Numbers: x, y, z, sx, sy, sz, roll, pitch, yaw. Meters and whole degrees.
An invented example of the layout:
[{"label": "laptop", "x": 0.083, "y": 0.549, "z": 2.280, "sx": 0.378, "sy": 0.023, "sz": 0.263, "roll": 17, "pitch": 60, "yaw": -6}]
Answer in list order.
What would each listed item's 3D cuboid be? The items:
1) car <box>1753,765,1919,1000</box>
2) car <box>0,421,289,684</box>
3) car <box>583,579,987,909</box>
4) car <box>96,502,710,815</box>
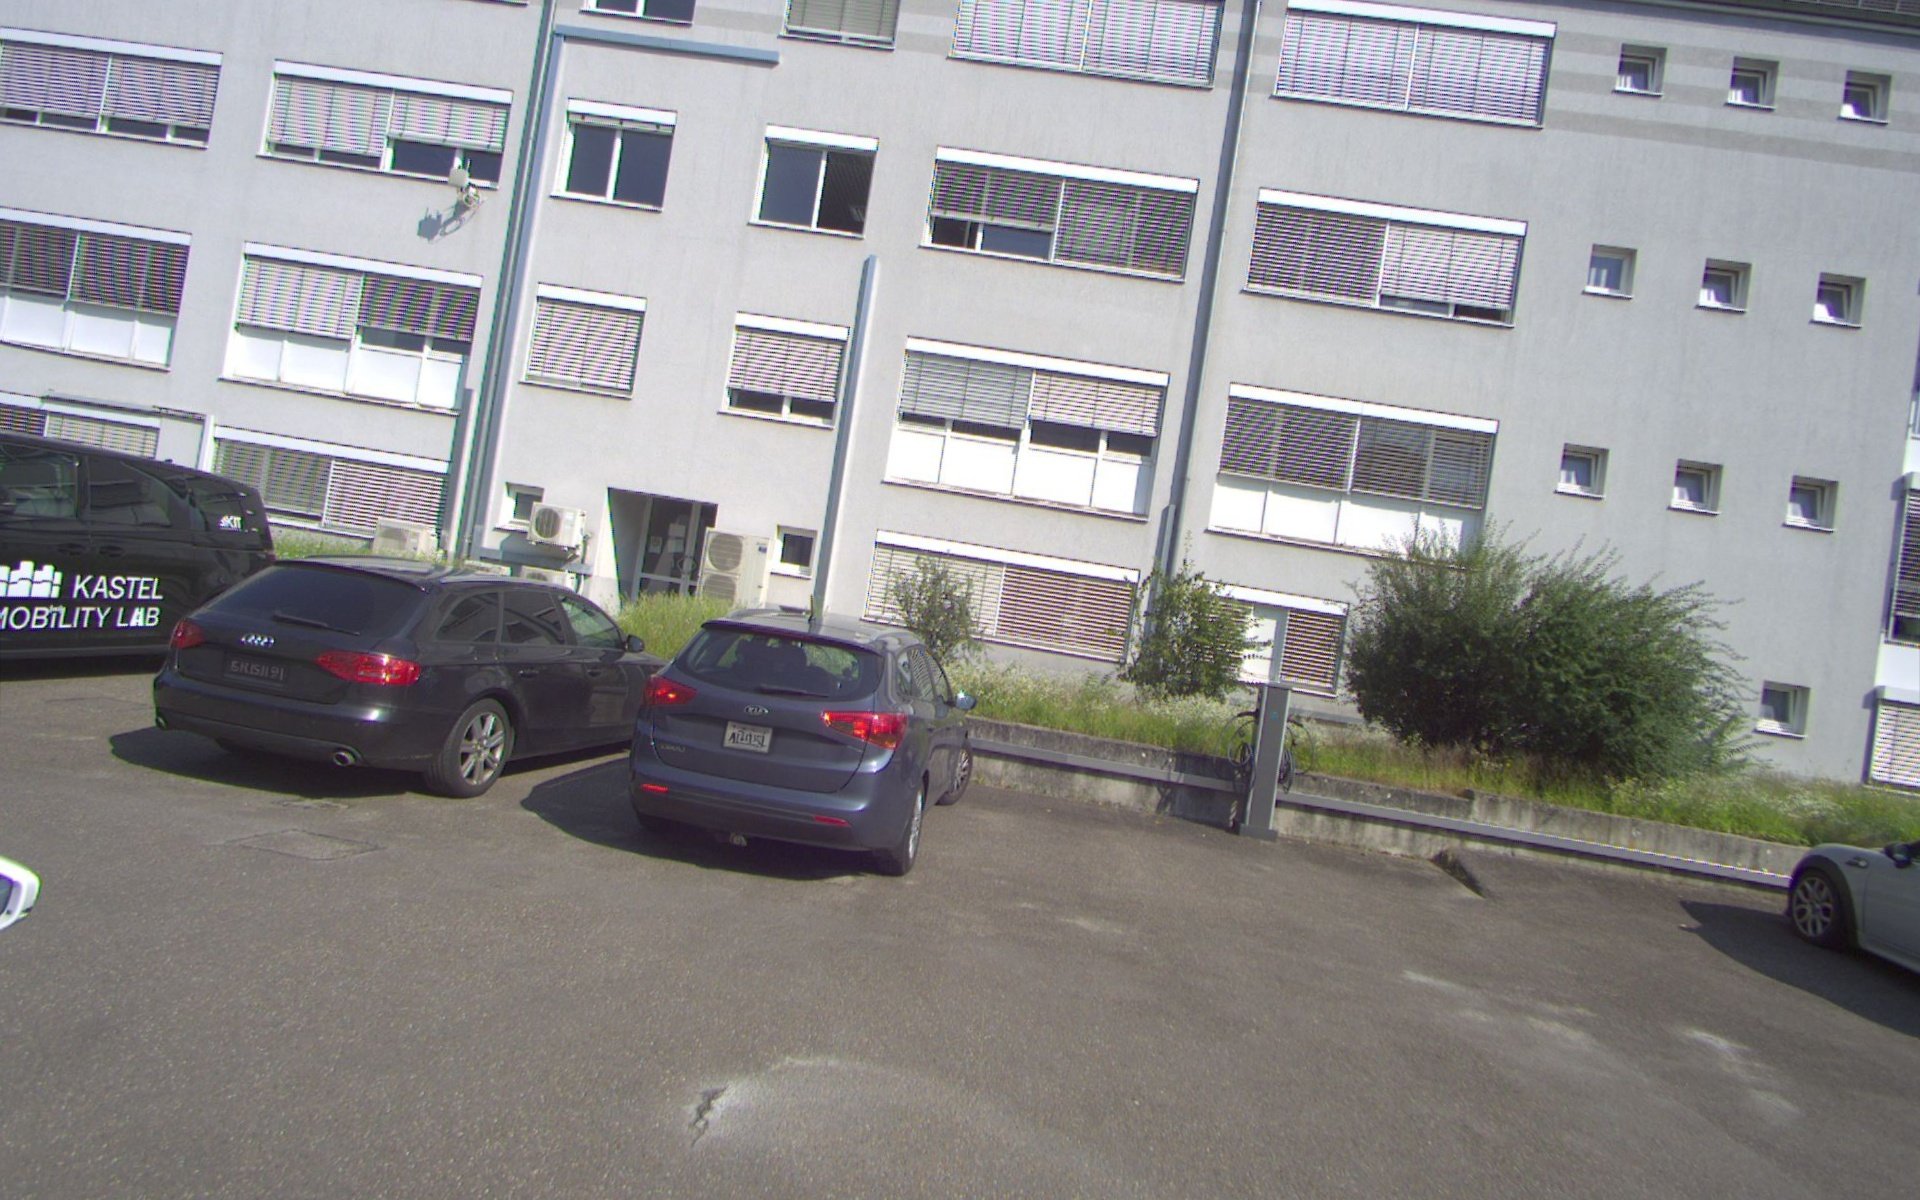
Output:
[{"label": "car", "x": 7.578, "y": 2.194, "z": 6.883, "sx": 1.628, "sy": 1.453, "sz": 3.586, "roll": 9, "pitch": -2, "yaw": 8}, {"label": "car", "x": -7.788, "y": -0.457, "z": 7.842, "sx": 1.880, "sy": 1.880, "sz": 4.352, "roll": 9, "pitch": -2, "yaw": 1}, {"label": "car", "x": -0.908, "y": 0.861, "z": 7.454, "sx": 1.710, "sy": 1.494, "sz": 4.064, "roll": 9, "pitch": -2, "yaw": 6}, {"label": "car", "x": -3.623, "y": 0.421, "z": 7.635, "sx": 1.658, "sy": 1.453, "sz": 4.252, "roll": 9, "pitch": -2, "yaw": 9}]
